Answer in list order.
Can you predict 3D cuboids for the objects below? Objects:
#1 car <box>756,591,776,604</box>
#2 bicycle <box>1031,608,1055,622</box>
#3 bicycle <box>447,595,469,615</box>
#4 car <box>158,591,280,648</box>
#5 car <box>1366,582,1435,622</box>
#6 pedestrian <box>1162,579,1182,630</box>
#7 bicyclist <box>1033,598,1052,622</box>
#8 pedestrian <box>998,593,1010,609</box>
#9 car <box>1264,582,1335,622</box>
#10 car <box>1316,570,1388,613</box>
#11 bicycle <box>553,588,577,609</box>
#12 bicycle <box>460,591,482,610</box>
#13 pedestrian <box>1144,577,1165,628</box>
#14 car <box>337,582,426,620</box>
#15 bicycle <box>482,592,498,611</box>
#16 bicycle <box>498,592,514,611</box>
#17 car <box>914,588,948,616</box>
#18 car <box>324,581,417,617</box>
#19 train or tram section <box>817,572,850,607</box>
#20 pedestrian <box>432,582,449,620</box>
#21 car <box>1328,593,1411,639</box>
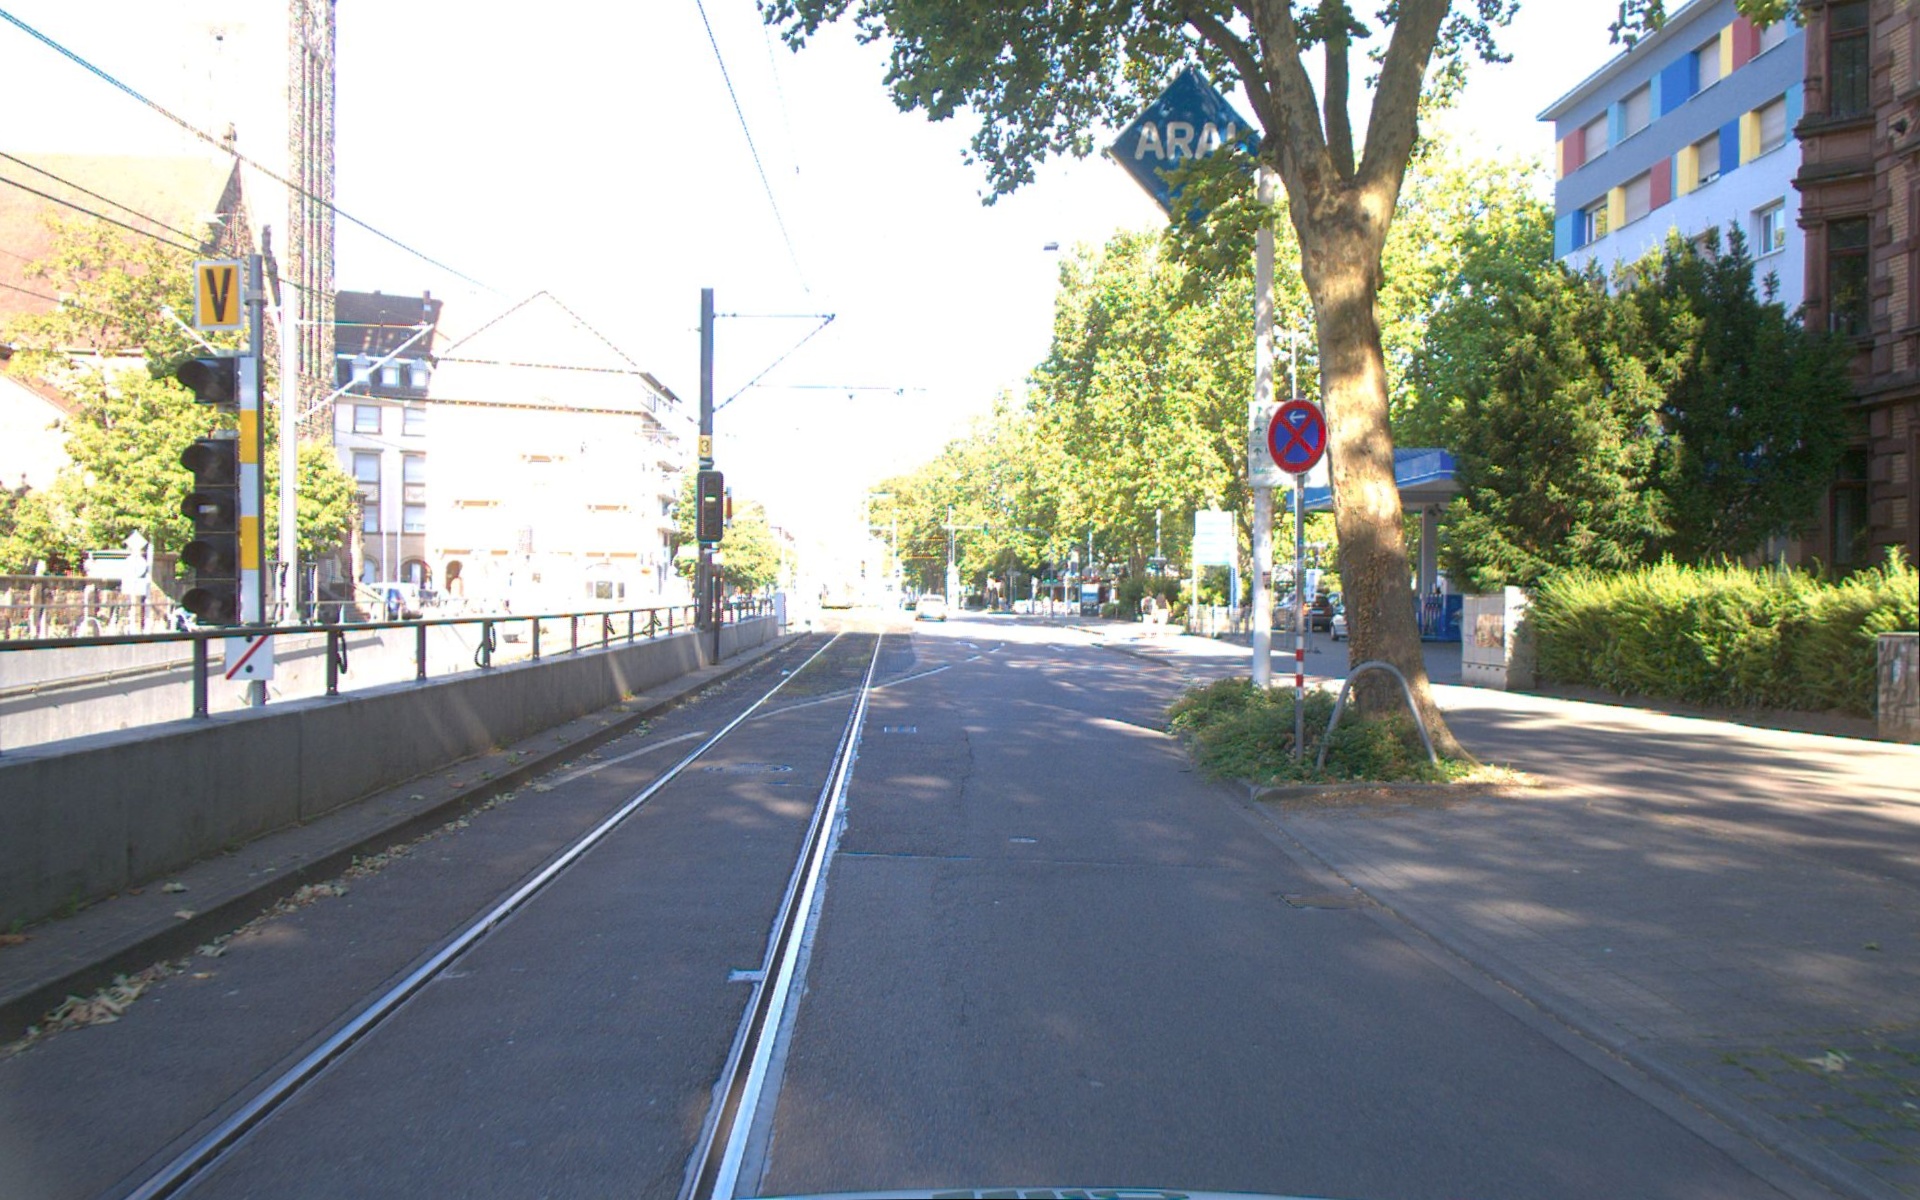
[{"bbox_3d":[-23.485,-0.363,199.984,1.953,1.474,4.838,-2,1,-2],"label":"car"},{"bbox_3d":[6.357,1.181,127.514,1.178,0.951,2.566,2,0,-13],"label":"bicycle"},{"bbox_3d":[-36.093,0.338,118.898,0.814,1.305,2.536,2,0,-33],"label":"bicycle"},{"bbox_3d":[-22.710,0.554,50.845,1.681,1.582,4.509,3,0,0],"label":"car"},{"bbox_3d":[19.069,0.061,71.773,1.822,1.597,3.999,0,1,-2],"label":"car"},{"bbox_3d":[7.719,0.151,60.240,0.590,1.807,0.690,-3,0,1],"label":"pedestrian"},{"bbox_3d":[6.370,0.776,127.542,1.178,1.726,0.901,2,0,-14],"label":"bicyclist"},{"bbox_3d":[3.835,0.079,143.000,0.647,1.412,0.830,2,0,30],"label":"pedestrian"},{"bbox_3d":[14.784,0.074,72.187,1.782,1.630,4.658,0,1,-5],"label":"car"},{"bbox_3d":[16.902,-0.411,71.529,1.822,1.765,4.797,0,1,-2],"label":"car"},{"bbox_3d":[-22.619,-0.110,94.813,0.618,1.164,2.280,-2,0,4],"label":"bicycle"},{"bbox_3d":[-35.325,0.019,119.395,0.814,1.305,2.536,2,0,-33],"label":"bicycle"},{"bbox_3d":[7.095,0.103,60.335,0.590,1.807,0.879,-3,0,1],"label":"pedestrian"},{"bbox_3d":[-30.249,0.030,86.560,3.905,1.787,1.895,3,0,0],"label":"car"},{"bbox_3d":[-34.035,0.076,119.785,0.810,1.305,2.549,2,0,-21],"label":"bicycle"},{"bbox_3d":[-33.155,0.110,120.761,0.807,1.305,2.558,2,0,-10],"label":"bicycle"},{"bbox_3d":[-1.643,0.106,93.457,1.710,1.487,3.642,3,1,-3],"label":"car"},{"bbox_3d":[-29.800,-0.059,83.688,3.905,1.657,1.895,3,0,0],"label":"car"},{"bbox_3d":[-13.489,-1.111,177.082,2.893,3.469,10.787,2,0,-2],"label":"train or tram section"},{"bbox_3d":[-26.759,0.047,85.209,0.593,1.920,0.757,2,0,0],"label":"pedestrian"},{"bbox_3d":[13.456,0.501,54.514,1.536,1.455,4.096,0,0,-3],"label":"car"}]
